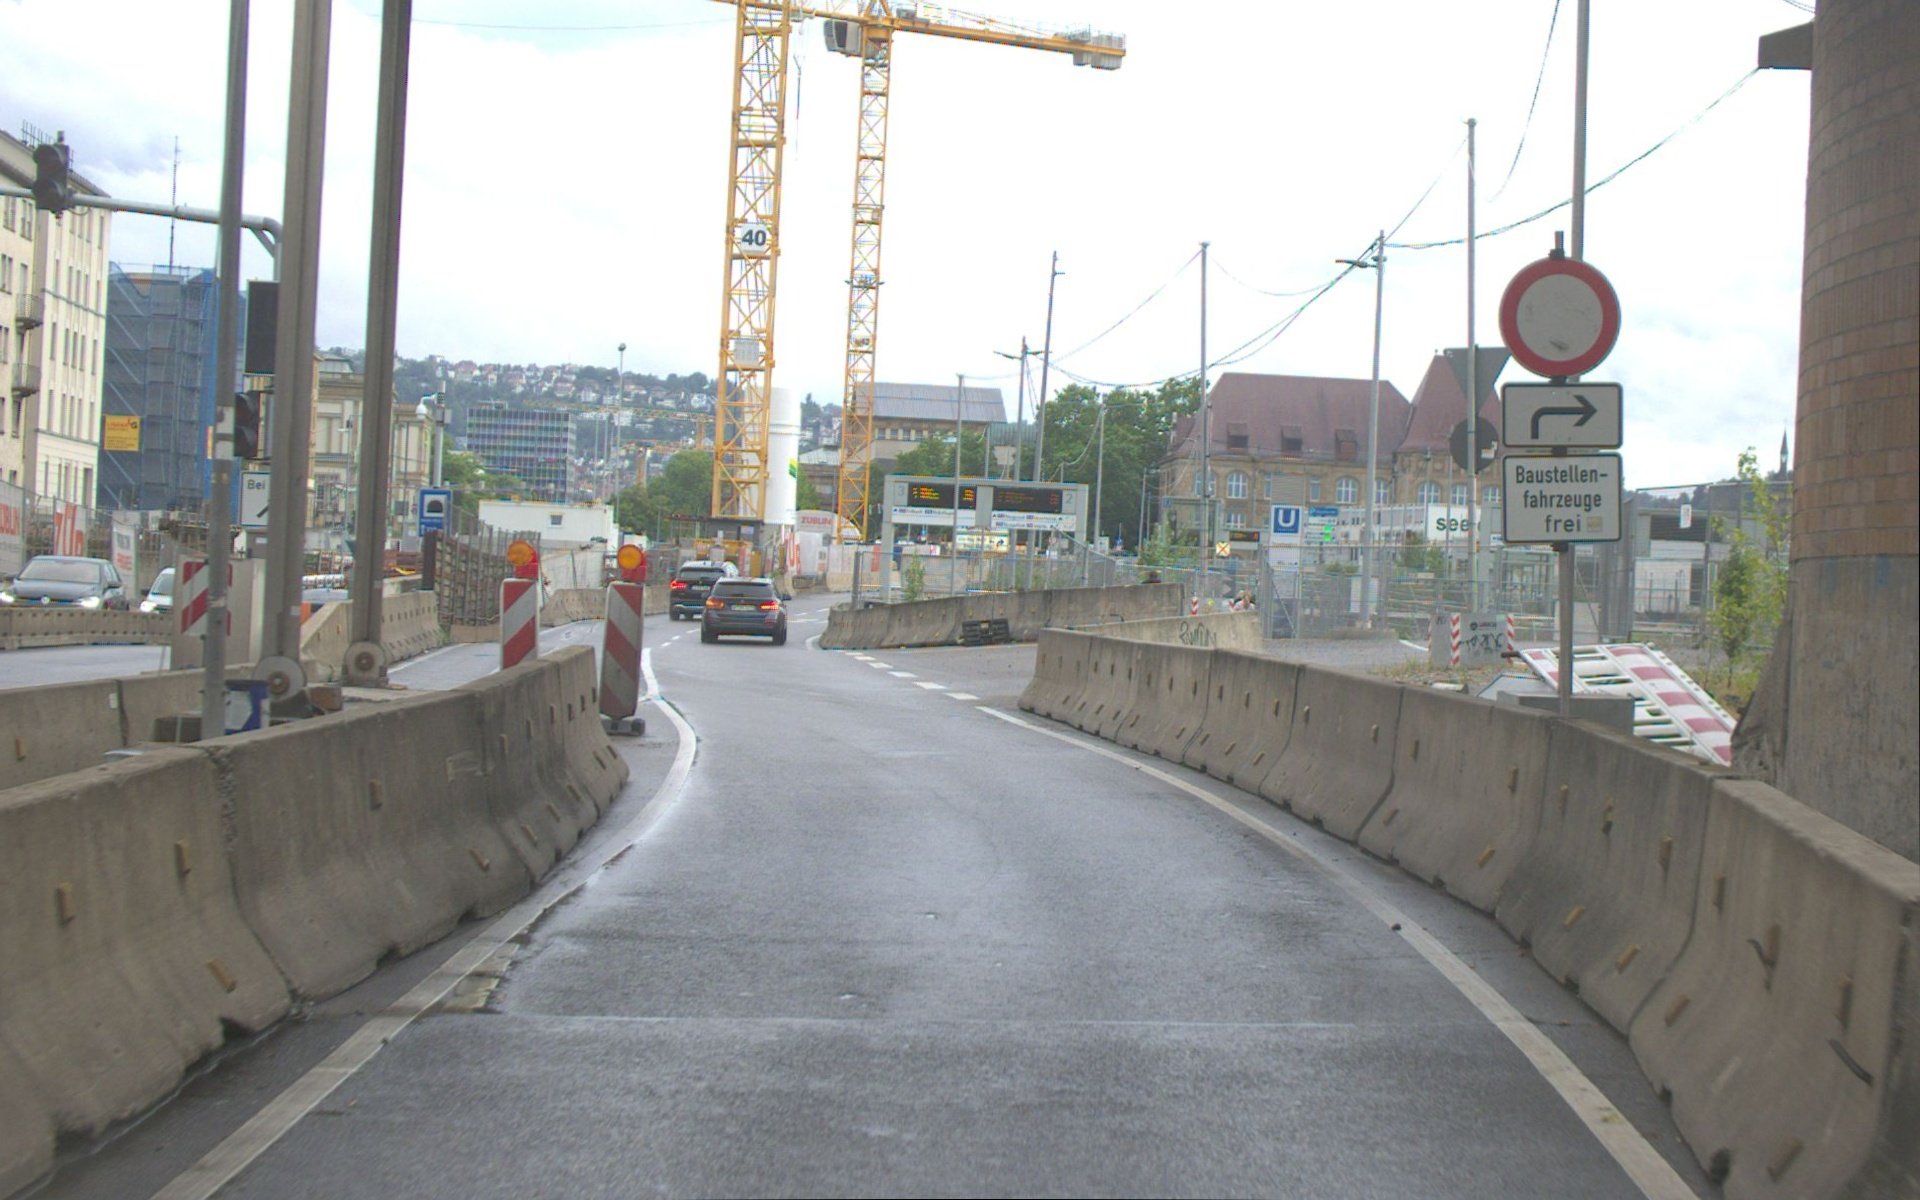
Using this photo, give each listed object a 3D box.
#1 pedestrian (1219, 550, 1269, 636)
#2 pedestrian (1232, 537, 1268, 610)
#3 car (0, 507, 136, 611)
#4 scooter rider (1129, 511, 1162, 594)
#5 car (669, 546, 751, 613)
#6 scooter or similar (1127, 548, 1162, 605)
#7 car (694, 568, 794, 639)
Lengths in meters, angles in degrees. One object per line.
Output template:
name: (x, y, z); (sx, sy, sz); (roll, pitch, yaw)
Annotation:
pedestrian: (5.993, -0.153, 72.564); (0.689, 1.772, 0.816); (2, 0, -21)
pedestrian: (7.125, -0.656, 84.584); (0.689, 1.772, 1.023); (2, 0, -3)
car: (-15.635, -0.741, 59.569); (1.805, 1.617, 4.035); (2, 2, -2)
scooter rider: (3.960, -1.018, 73.425); (0.521, 1.749, 0.699); (2, 2, 15)
car: (-6.956, -0.592, 96.052); (1.863, 1.655, 4.657); (3, 2, 0)
scooter or similar: (3.942, -0.503, 73.441); (0.491, 1.175, 1.095); (2, 2, 15)
car: (-4.712, 0.103, 75.593); (1.863, 1.428, 4.656); (3, -1, 0)
